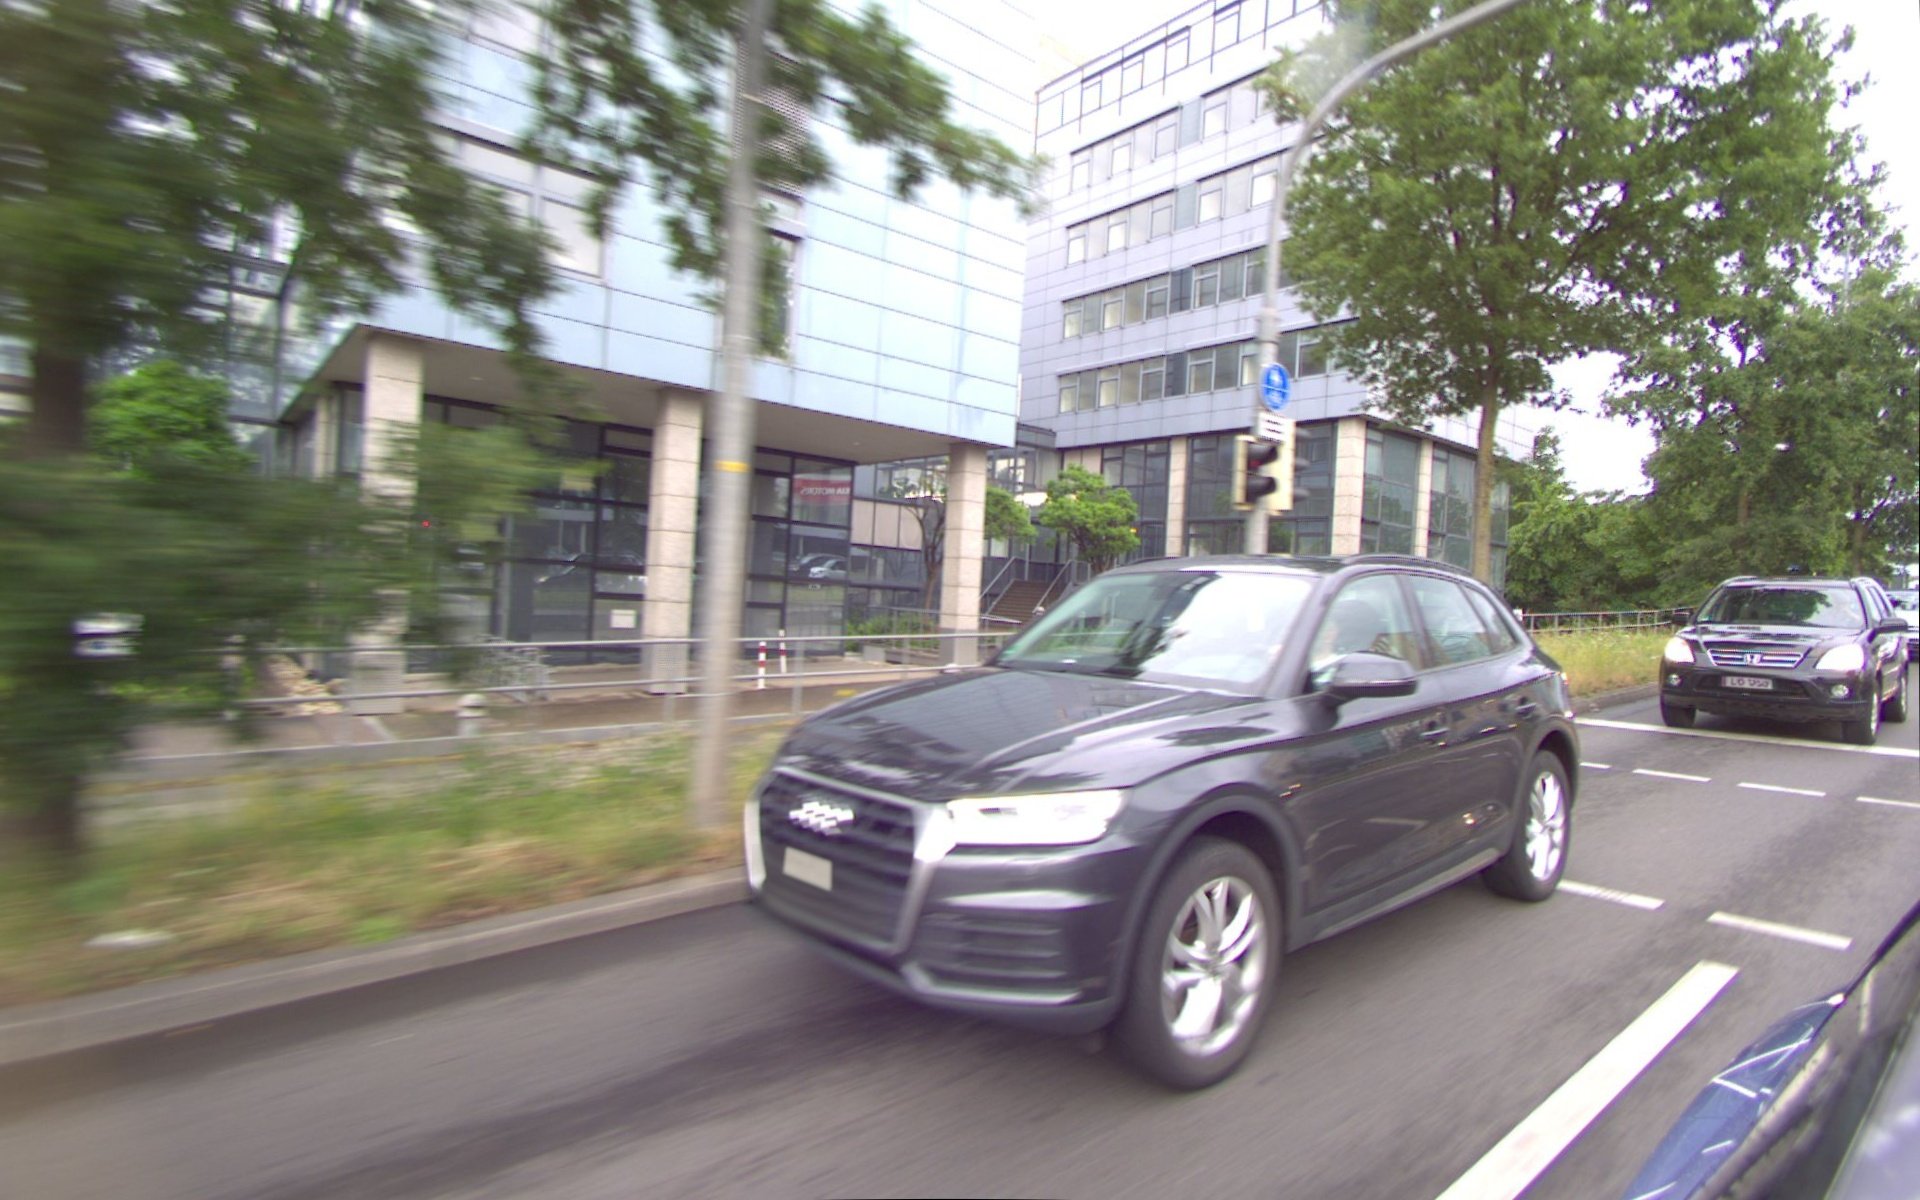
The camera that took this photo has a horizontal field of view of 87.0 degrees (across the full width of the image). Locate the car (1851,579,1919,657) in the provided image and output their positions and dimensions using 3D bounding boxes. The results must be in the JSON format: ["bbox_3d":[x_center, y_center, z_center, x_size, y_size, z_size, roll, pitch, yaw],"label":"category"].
[{"bbox_3d":[20.863,0.367,21.880,4.035,1.562,1.872,0,1,-41],"label":"car"}]

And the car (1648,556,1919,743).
[{"bbox_3d":[9.459,0.430,11.323,4.469,1.691,1.815,0,1,-41],"label":"car"}]

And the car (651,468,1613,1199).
[{"bbox_3d":[1.087,0.527,4.406,4.294,1.691,1.815,0,1,-41],"label":"car"}]
